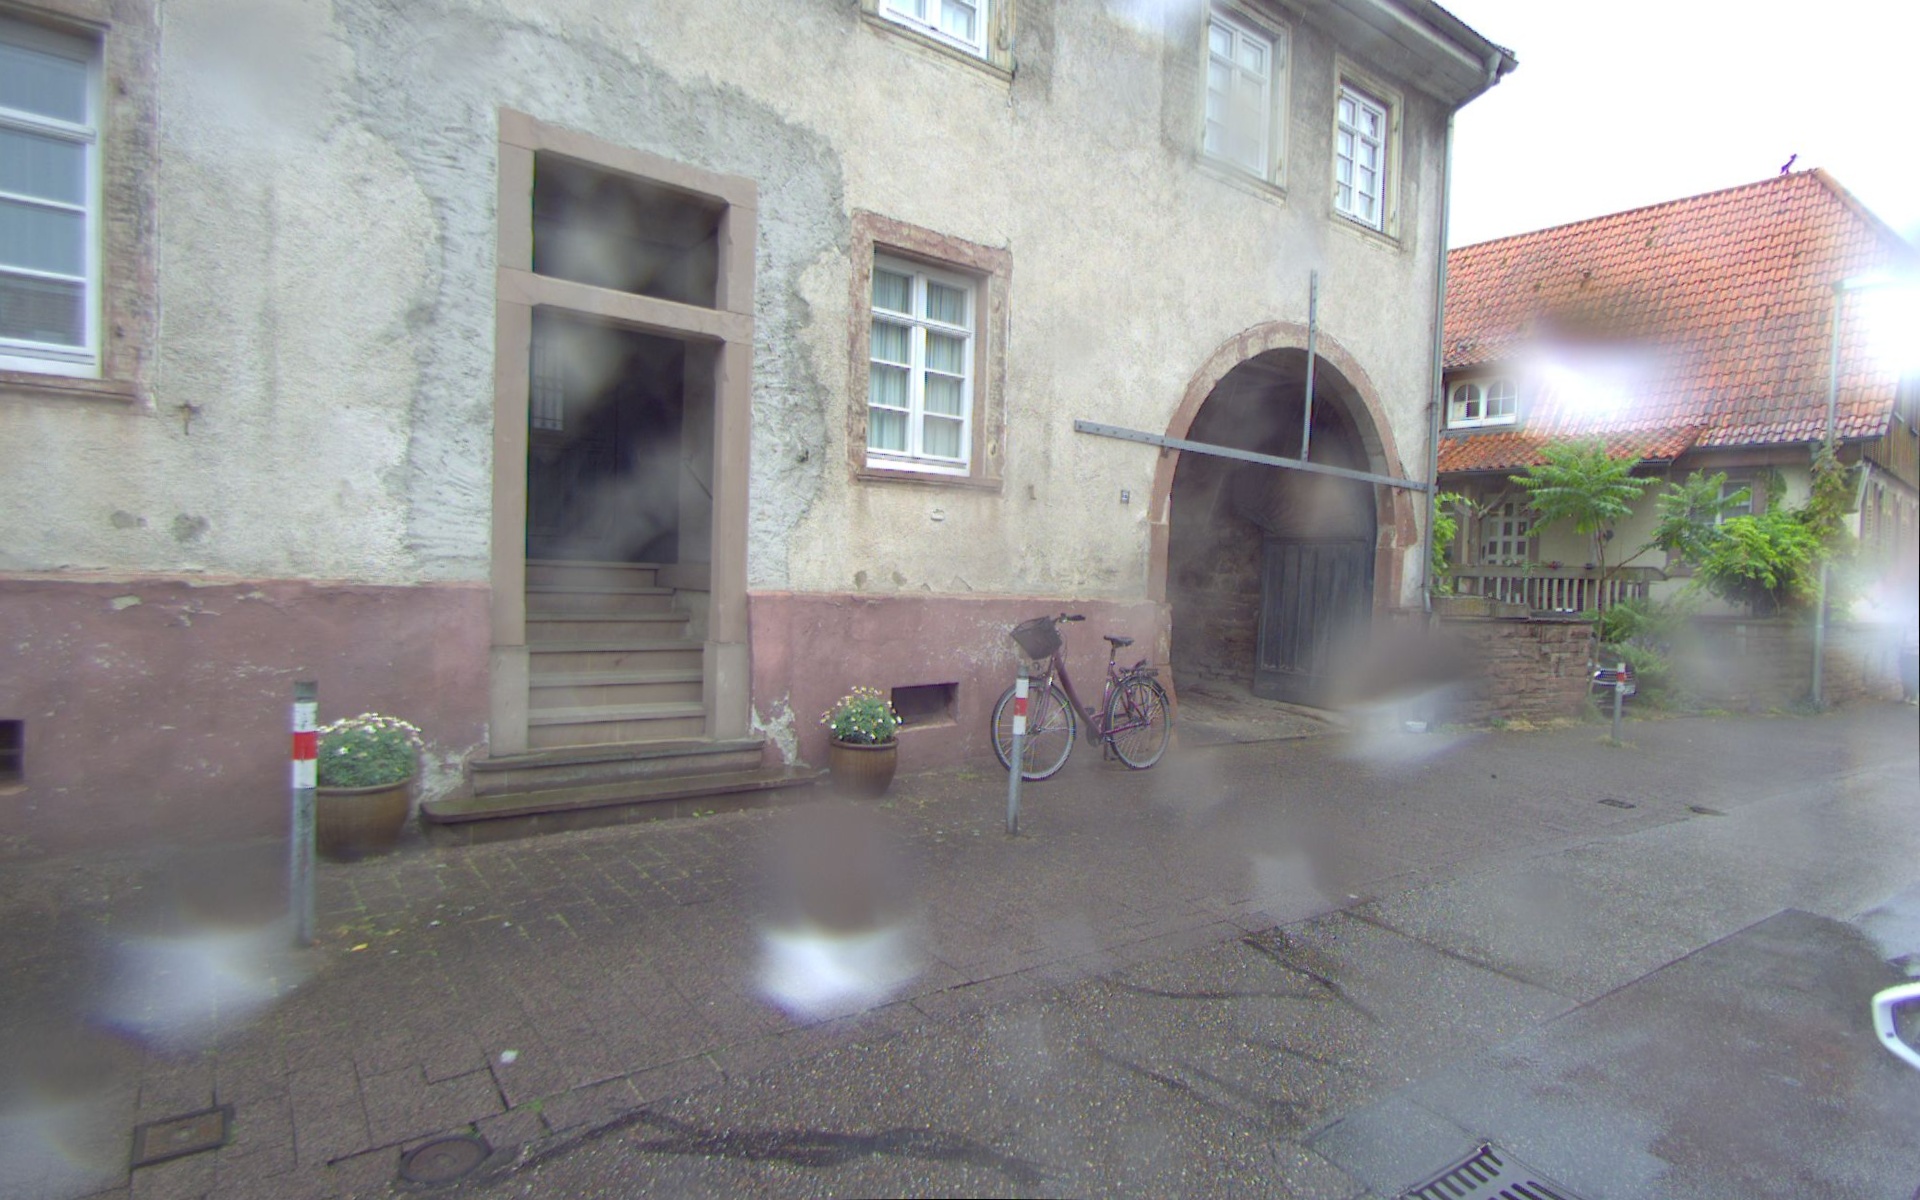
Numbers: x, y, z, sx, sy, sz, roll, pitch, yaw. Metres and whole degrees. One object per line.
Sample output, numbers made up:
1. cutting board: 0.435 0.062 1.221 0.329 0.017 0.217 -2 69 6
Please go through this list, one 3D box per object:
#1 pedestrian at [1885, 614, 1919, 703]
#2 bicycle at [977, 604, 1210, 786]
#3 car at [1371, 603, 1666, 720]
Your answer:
1. pedestrian: 16.953 1.031 17.955 0.561 1.551 0.566 2 0 44
2. bicycle: 1.030 0.673 7.471 1.817 1.196 0.480 2 2 -35
3. car: 8.229 0.823 15.061 1.578 1.394 3.505 1 1 -34
